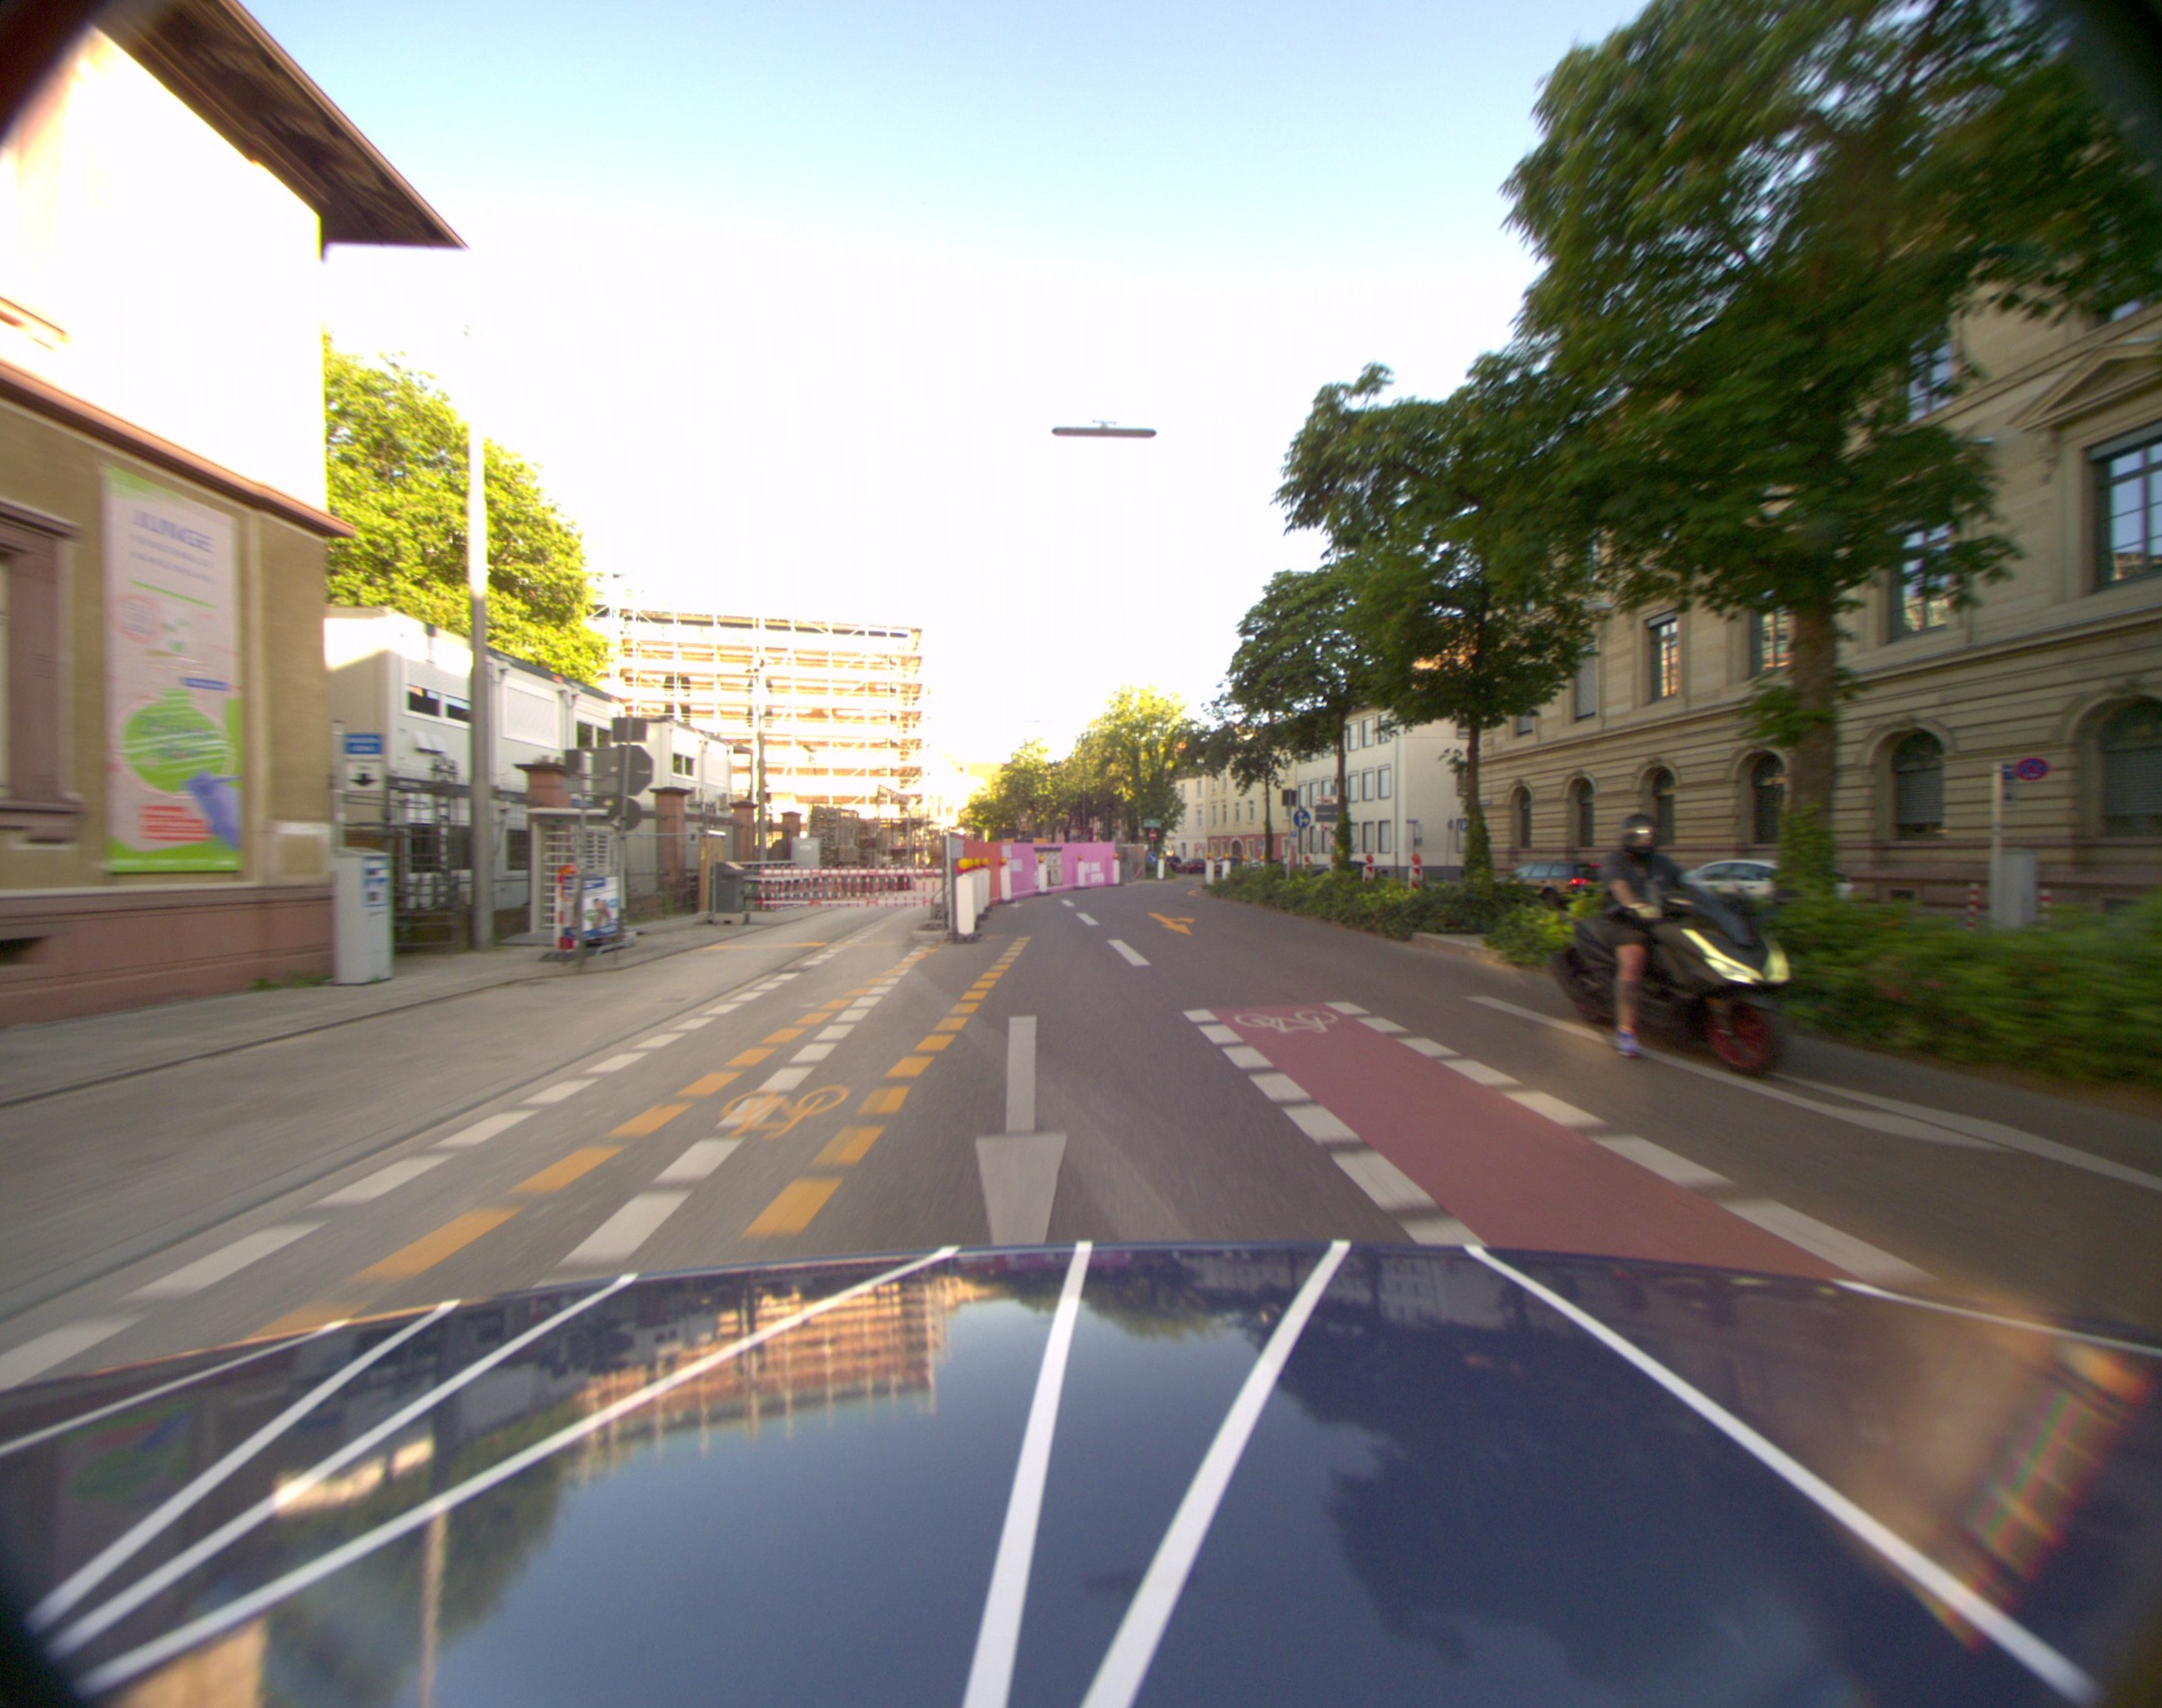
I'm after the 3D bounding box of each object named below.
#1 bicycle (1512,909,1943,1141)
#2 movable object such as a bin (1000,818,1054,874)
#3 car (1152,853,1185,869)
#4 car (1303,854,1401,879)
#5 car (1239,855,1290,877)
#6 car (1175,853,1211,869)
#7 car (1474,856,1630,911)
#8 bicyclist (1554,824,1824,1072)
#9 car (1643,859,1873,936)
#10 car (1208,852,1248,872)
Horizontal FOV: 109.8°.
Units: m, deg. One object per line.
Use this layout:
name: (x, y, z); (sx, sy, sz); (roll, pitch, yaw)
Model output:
bicycle: (4.206, 1.014, 5.342); (0.872, 1.036, 2.453); (-2, 0, -2)
movable object such as a bin: (-3.364, -0.472, 47.051); (3.171, 3.281, 4.383); (0, 0, -5)
car: (8.844, 0.638, 76.836); (1.820, 1.562, 4.384); (0, 0, -15)
car: (14.834, 0.661, 41.818); (4.771, 1.315, 1.767); (0, 0, 1)
car: (13.508, 0.840, 56.229); (1.882, 1.499, 4.782); (-1, 0, -11)
car: (10.515, 0.647, 71.545); (1.773, 1.479, 4.188); (-1, 0, -16)
car: (14.577, 0.837, 23.899); (1.884, 1.499, 4.642); (2, 0, -2)
bicyclist: (4.186, 0.582, 5.360); (0.870, 1.514, 1.231); (-2, 1, -2)
car: (15.037, 0.893, 17.204); (1.672, 1.499, 3.845); (0, 0, -2)
car: (12.161, 0.646, 63.116); (1.808, 1.562, 4.150); (0, 0, -12)
